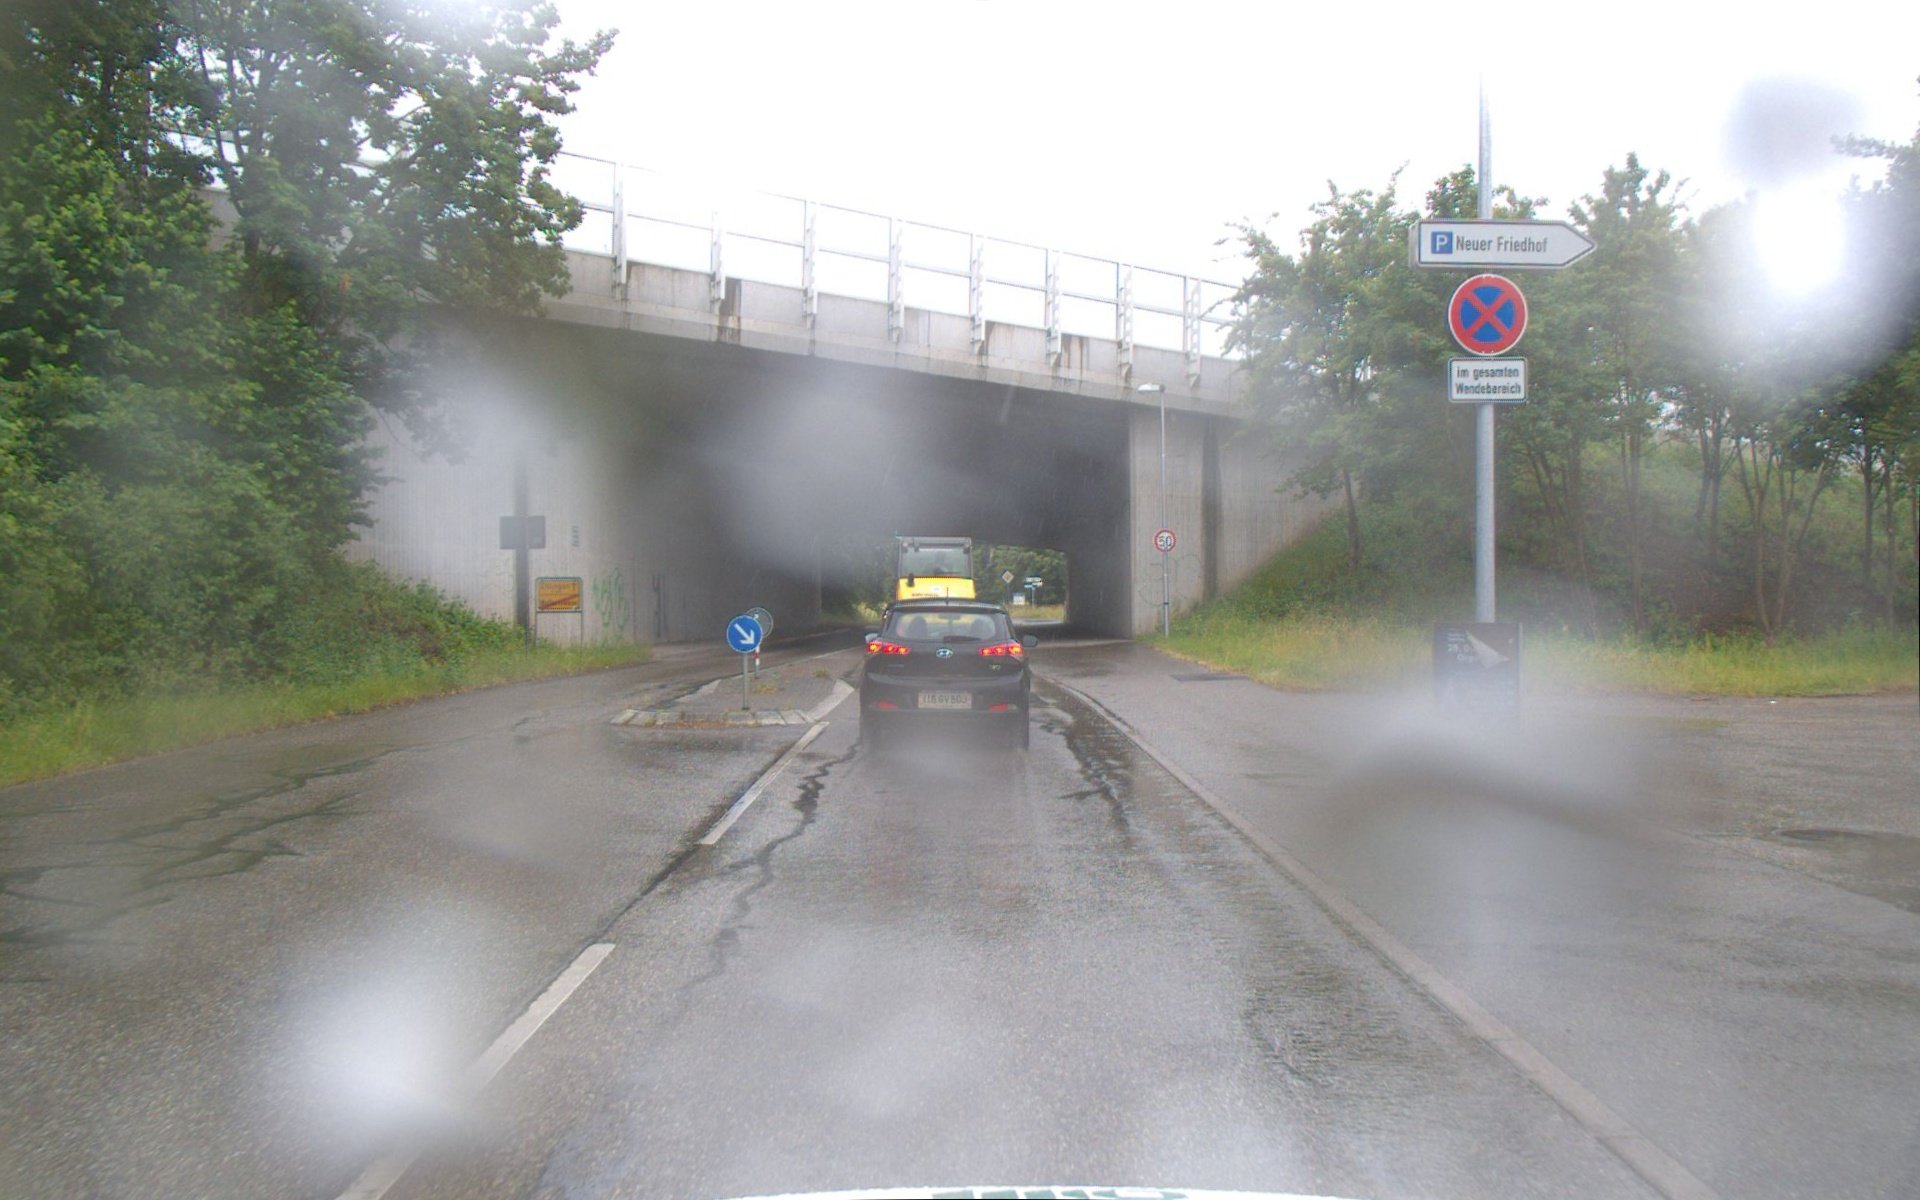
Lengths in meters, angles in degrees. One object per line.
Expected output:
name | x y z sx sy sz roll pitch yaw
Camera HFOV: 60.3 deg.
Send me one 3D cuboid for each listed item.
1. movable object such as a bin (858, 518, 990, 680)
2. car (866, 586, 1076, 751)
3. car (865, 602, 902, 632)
movable object such as a bin | -0.699 0.000 31.401 2.200 2.716 6.624 1 0 -2
car | 0.050 0.658 17.567 1.953 1.513 3.998 1 0 -2
car | -4.036 0.875 87.485 1.655 1.513 4.073 0 0 2
